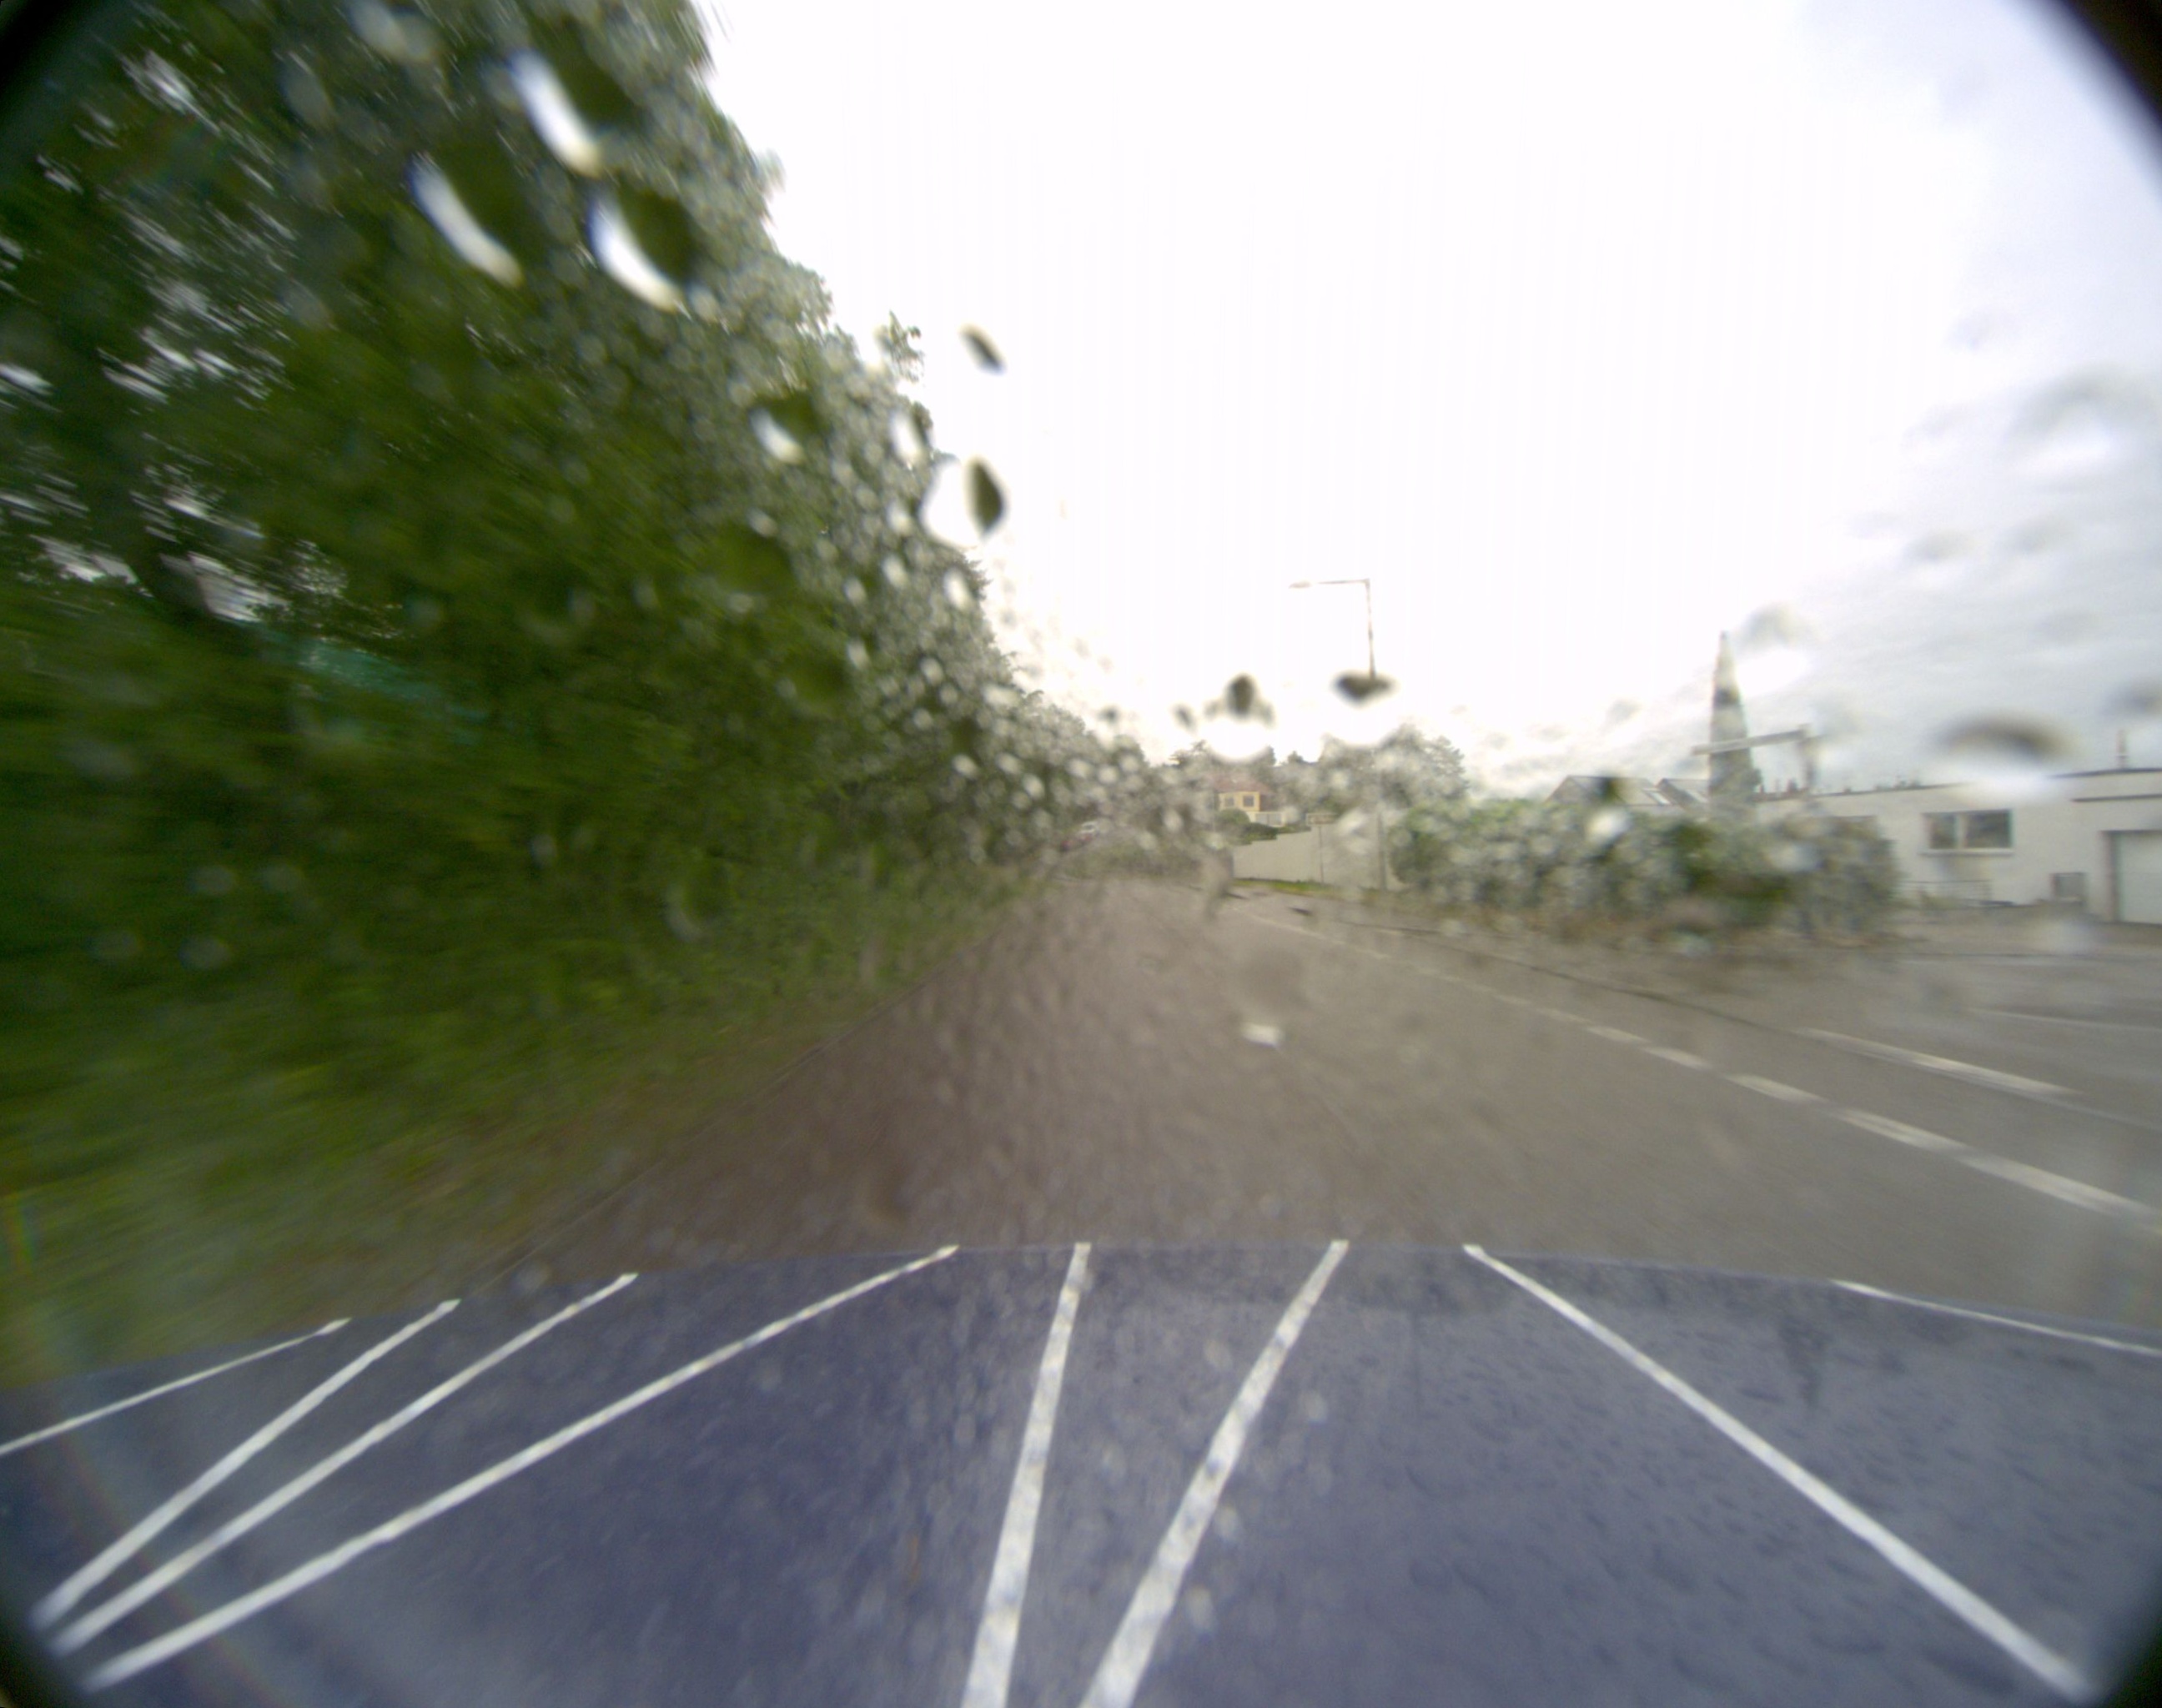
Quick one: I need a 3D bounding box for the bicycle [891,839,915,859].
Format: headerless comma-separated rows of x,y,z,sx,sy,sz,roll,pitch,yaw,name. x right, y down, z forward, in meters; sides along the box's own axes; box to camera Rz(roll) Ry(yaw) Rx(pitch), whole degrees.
-8.107,-0.227,34.657,0.436,0.884,1.698,-2,0,9,bicycle

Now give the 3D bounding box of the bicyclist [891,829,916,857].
-8.092,-0.515,34.719,0.788,1.220,0.812,-2,0,10,bicyclist
